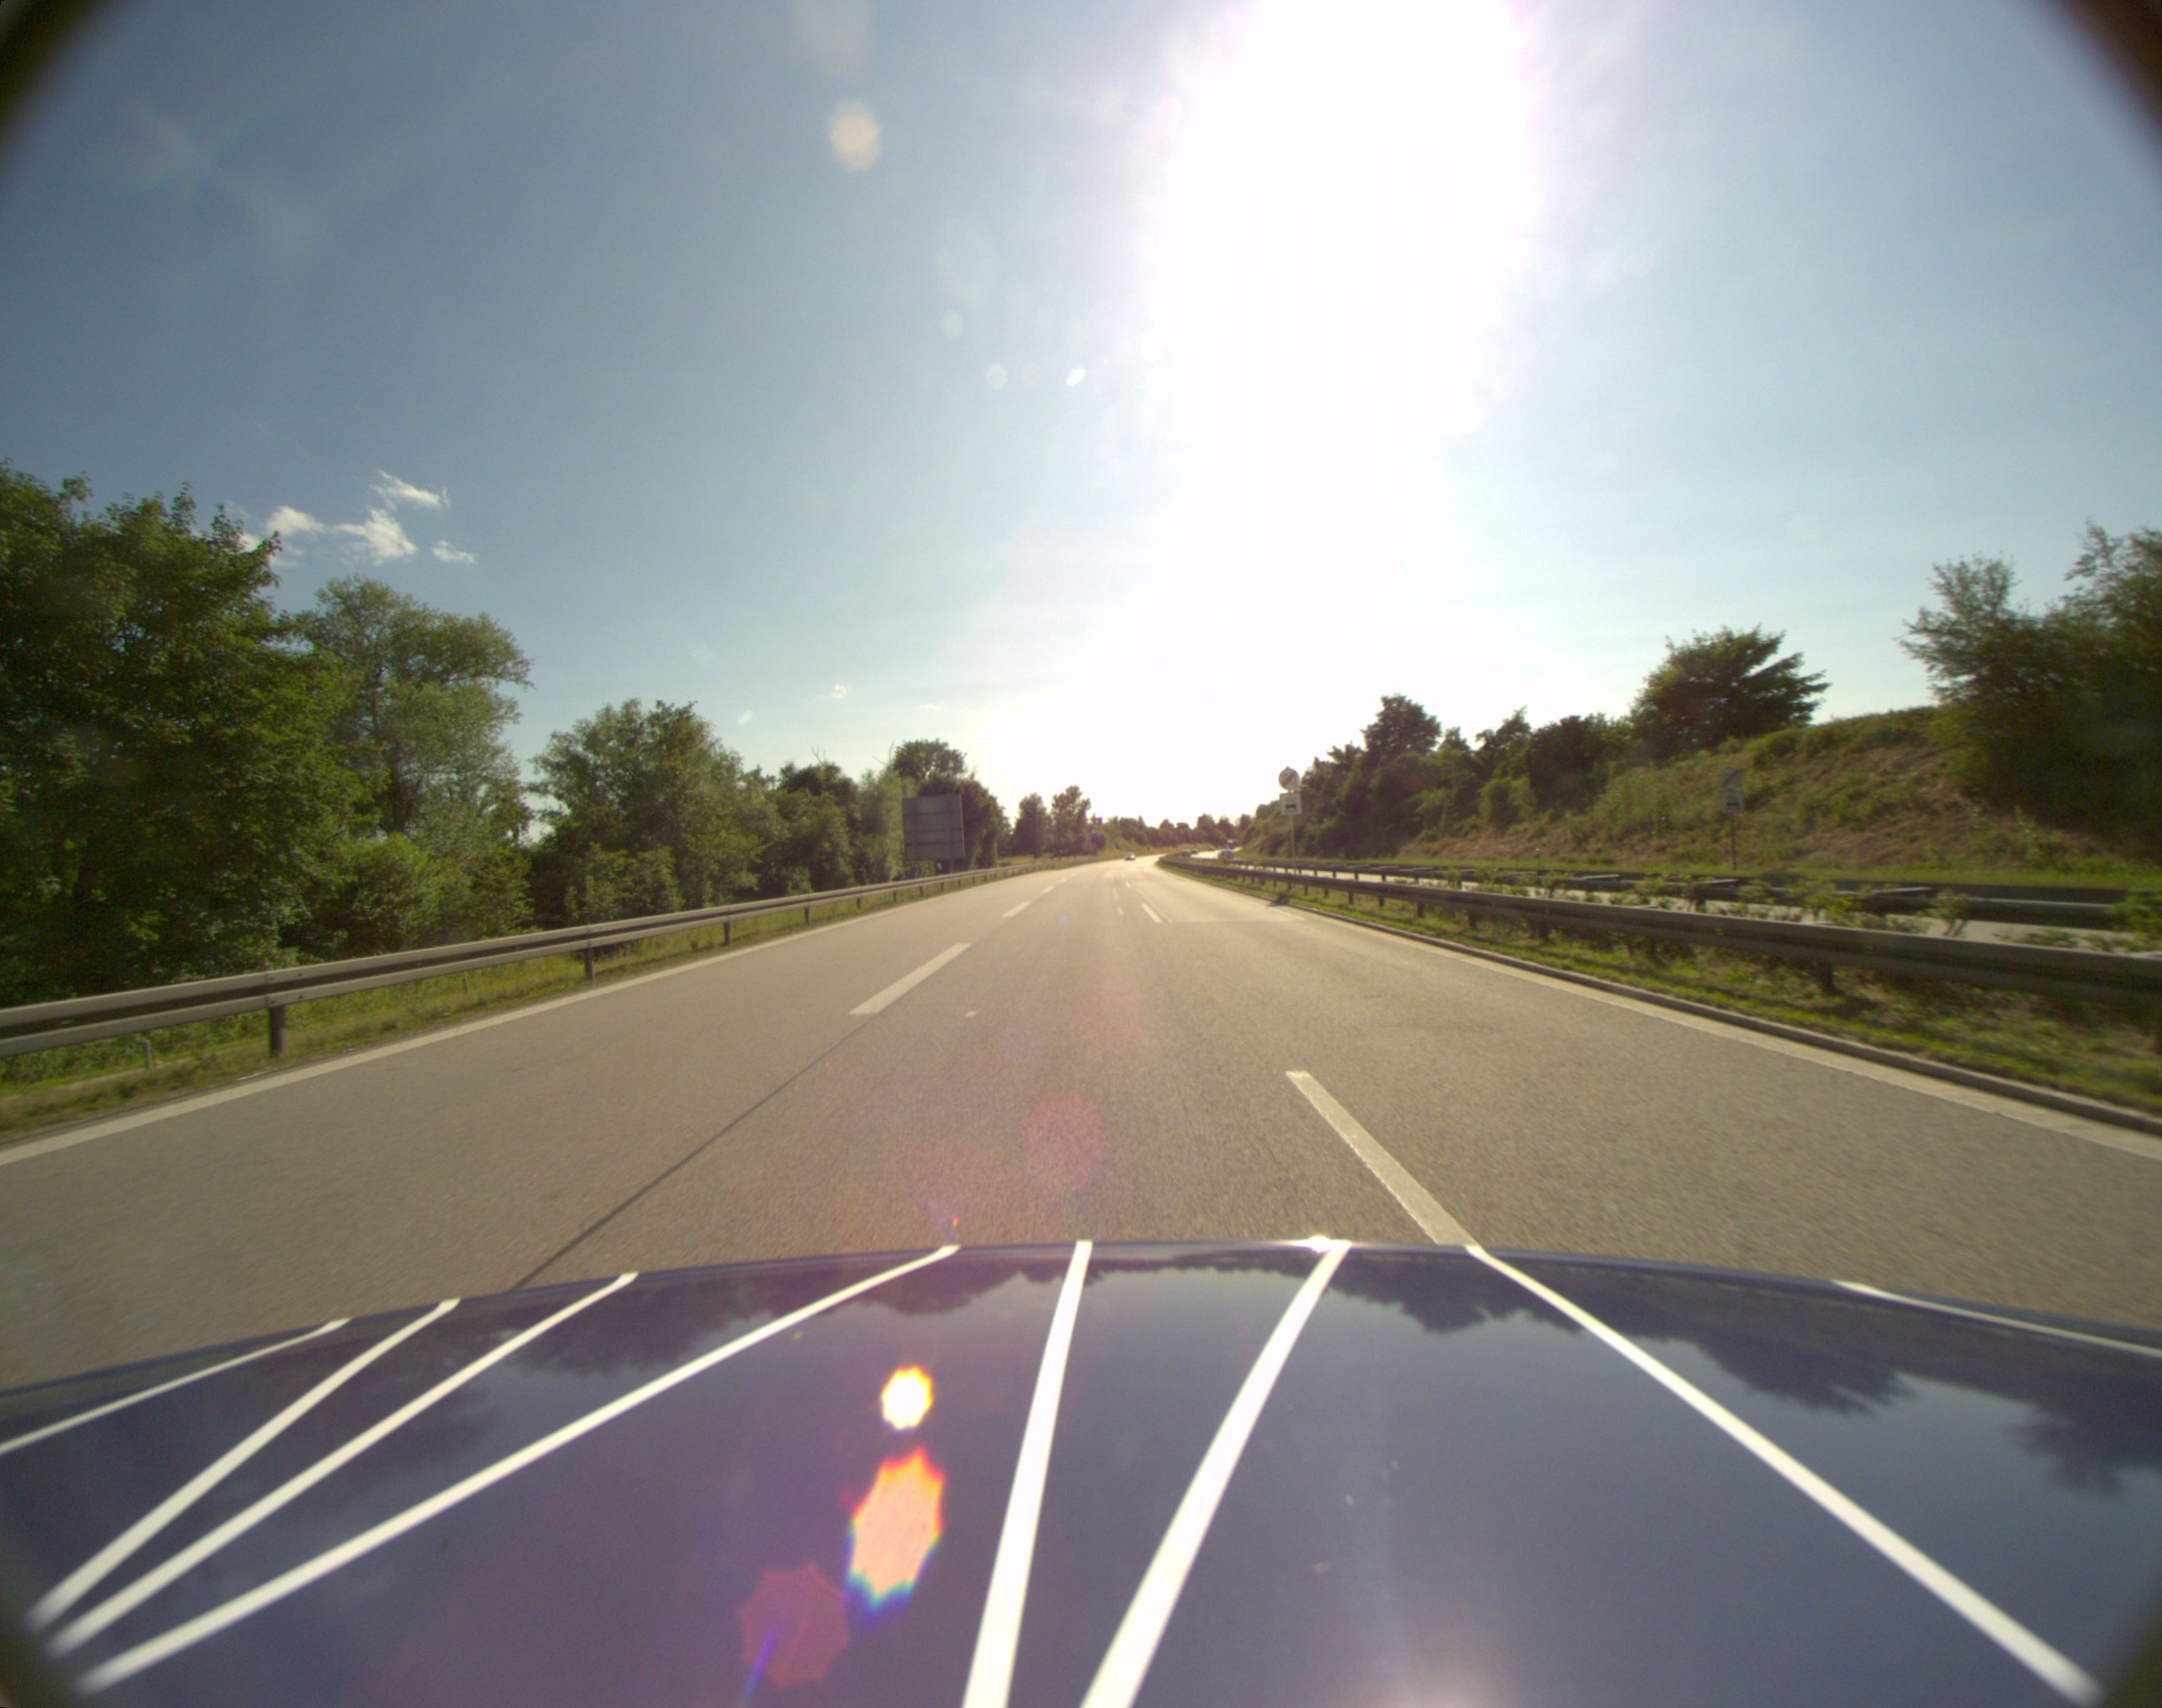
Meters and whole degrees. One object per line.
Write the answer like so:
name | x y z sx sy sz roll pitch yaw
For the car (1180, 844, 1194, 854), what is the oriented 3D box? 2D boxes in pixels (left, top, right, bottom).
car | 18.549 -0.893 133.054 1.998 1.536 4.676 -1 1 2

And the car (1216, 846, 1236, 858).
car | 18.376 -0.269 96.424 1.844 1.430 4.413 -2 0 2

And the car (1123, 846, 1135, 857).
car | 9.344 -0.473 148.304 1.998 2.002 4.600 -3 0 5

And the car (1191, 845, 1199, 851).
car | 30.189 -1.682 200.612 1.648 1.446 4.907 -2 2 4
